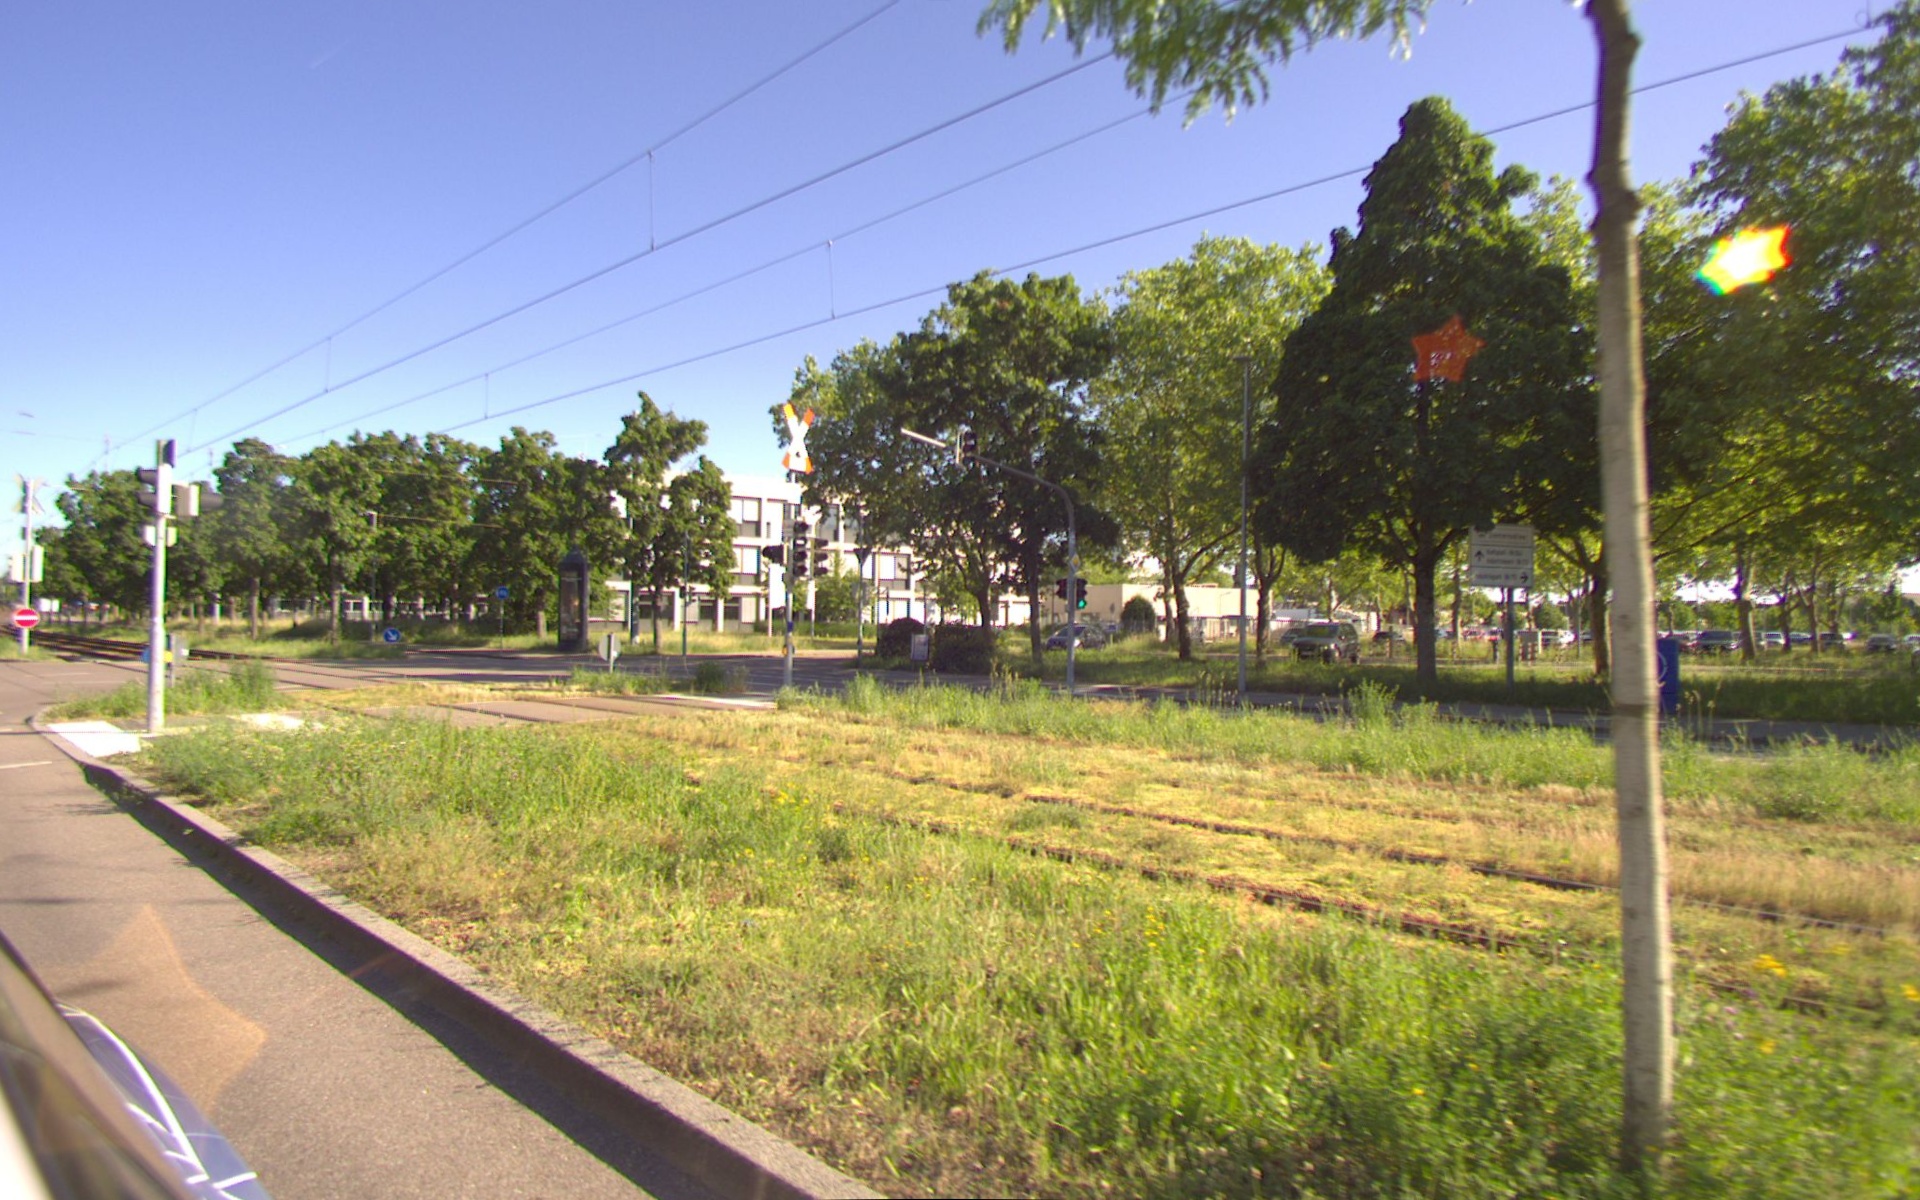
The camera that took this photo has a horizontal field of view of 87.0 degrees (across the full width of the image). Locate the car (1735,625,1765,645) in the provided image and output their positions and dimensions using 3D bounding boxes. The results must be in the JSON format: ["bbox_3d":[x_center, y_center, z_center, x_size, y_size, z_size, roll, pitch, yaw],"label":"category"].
[{"bbox_3d":[60.328,2.628,77.330,1.663,1.443,3.929,0,-1,36],"label":"car"}]

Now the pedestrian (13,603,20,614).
[{"bbox_3d":[-144.721,1.322,155.181,0.782,1.765,0.775,-1,-2,45],"label":"pedestrian"}]

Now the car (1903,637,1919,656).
[{"bbox_3d":[82.151,3.972,85.911,4.356,1.561,1.996,2,-2,-33],"label":"car"}]

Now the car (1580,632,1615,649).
[{"bbox_3d":[61.430,3.883,97.527,1.991,1.561,4.366,-1,-2,45],"label":"car"}]

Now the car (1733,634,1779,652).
[{"bbox_3d":[72.004,3.931,91.538,4.356,1.561,1.996,2,-2,-33],"label":"car"}]

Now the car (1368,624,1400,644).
[{"bbox_3d":[35.892,2.840,85.606,1.826,1.618,3.955,0,-1,33],"label":"car"}]

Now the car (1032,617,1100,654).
[{"bbox_3d":[5.168,1.670,48.854,1.823,1.681,3.959,0,-1,30],"label":"car"}]

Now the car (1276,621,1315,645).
[{"bbox_3d":[24.650,2.391,74.288,1.826,1.681,3.955,0,-1,33],"label":"car"}]

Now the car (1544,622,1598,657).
[{"bbox_3d":[26.561,1.682,43.933,1.663,1.443,3.929,0,-1,36],"label":"car"}]

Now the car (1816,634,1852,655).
[{"bbox_3d":[64.118,3.245,74.311,1.663,1.443,3.929,0,-1,36],"label":"car"}]

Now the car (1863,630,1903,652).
[{"bbox_3d":[66.107,2.929,72.536,1.663,1.443,3.929,0,-1,36],"label":"car"}]

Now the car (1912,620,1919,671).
[{"bbox_3d":[27.463,1.263,27.610,1.663,1.443,3.929,-1,-2,36],"label":"car"}]

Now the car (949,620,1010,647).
[{"bbox_3d":[1.252,2.099,63.611,1.982,1.652,4.385,0,-2,30],"label":"car"}]

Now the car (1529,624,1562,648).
[{"bbox_3d":[41.944,2.562,72.430,1.826,1.681,3.955,0,-1,33],"label":"car"}]

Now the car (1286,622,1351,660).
[{"bbox_3d":[14.163,1.607,39.870,1.864,1.392,3.962,0,-2,28],"label":"car"}]

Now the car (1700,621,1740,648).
[{"bbox_3d":[43.020,1.932,57.362,1.743,1.460,3.929,0,-1,36],"label":"car"}]

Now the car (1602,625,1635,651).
[{"bbox_3d":[45.267,2.590,69.577,1.826,1.681,3.955,0,-1,33],"label":"car"}]

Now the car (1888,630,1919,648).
[{"bbox_3d":[89.124,3.629,95.559,3.939,1.618,1.833,1,-1,-43],"label":"car"}]
